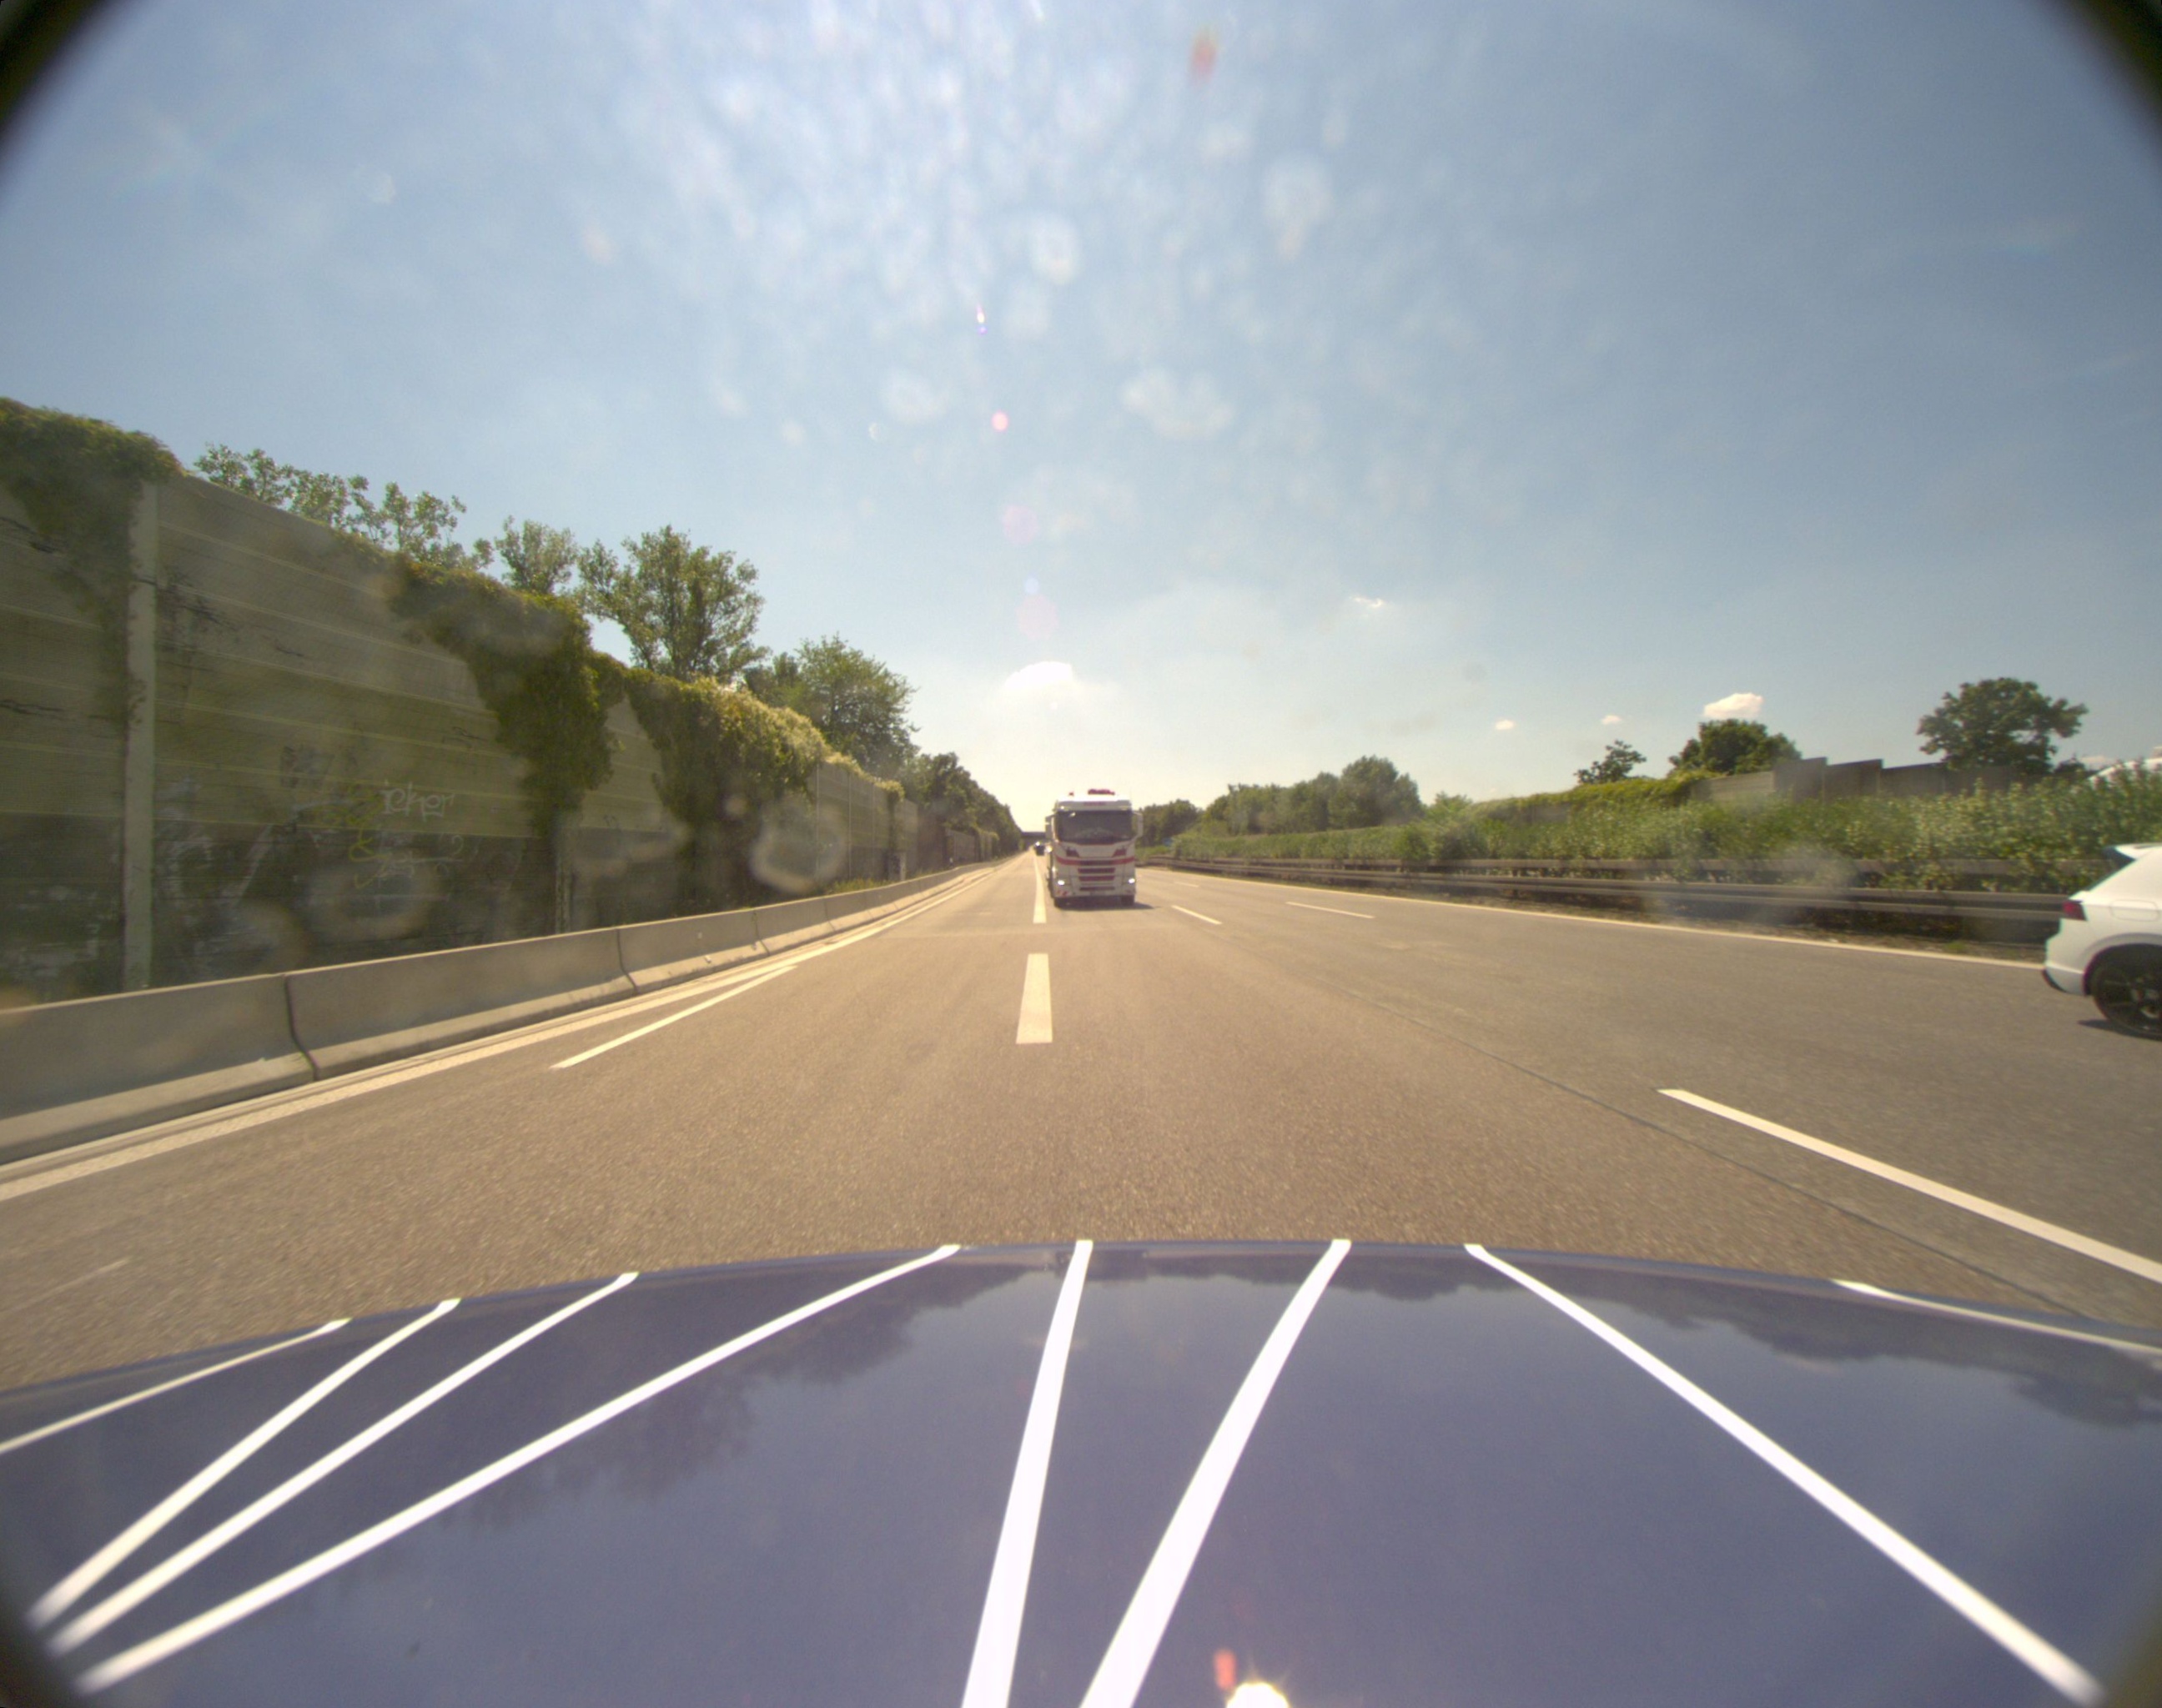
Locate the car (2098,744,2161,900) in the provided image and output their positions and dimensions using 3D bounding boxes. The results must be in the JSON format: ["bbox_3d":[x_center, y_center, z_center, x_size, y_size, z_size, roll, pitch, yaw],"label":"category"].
[{"bbox_3d":[20.061,-0.592,12.216,1.999,2.749,3.999,-2,0,-3],"label":"car"}]

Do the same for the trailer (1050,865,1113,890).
[{"bbox_3d":[-0.110,1.079,37.009,2.722,0.929,7.758,-2,0,-2],"label":"trailer"}]

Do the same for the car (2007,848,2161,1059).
[{"bbox_3d":[8.330,0.667,3.730,1.787,1.432,4.668,-1,0,-2],"label":"car"}]

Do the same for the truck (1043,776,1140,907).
[{"bbox_3d":[0.212,-0.355,27.825,2.722,3.780,10.670,-2,0,-1],"label":"truck"}]

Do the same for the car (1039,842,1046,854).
[{"bbox_3d":[-12.109,-1.900,238.343,2.116,3.283,6.443,-2,-1,-4],"label":"car"}]
